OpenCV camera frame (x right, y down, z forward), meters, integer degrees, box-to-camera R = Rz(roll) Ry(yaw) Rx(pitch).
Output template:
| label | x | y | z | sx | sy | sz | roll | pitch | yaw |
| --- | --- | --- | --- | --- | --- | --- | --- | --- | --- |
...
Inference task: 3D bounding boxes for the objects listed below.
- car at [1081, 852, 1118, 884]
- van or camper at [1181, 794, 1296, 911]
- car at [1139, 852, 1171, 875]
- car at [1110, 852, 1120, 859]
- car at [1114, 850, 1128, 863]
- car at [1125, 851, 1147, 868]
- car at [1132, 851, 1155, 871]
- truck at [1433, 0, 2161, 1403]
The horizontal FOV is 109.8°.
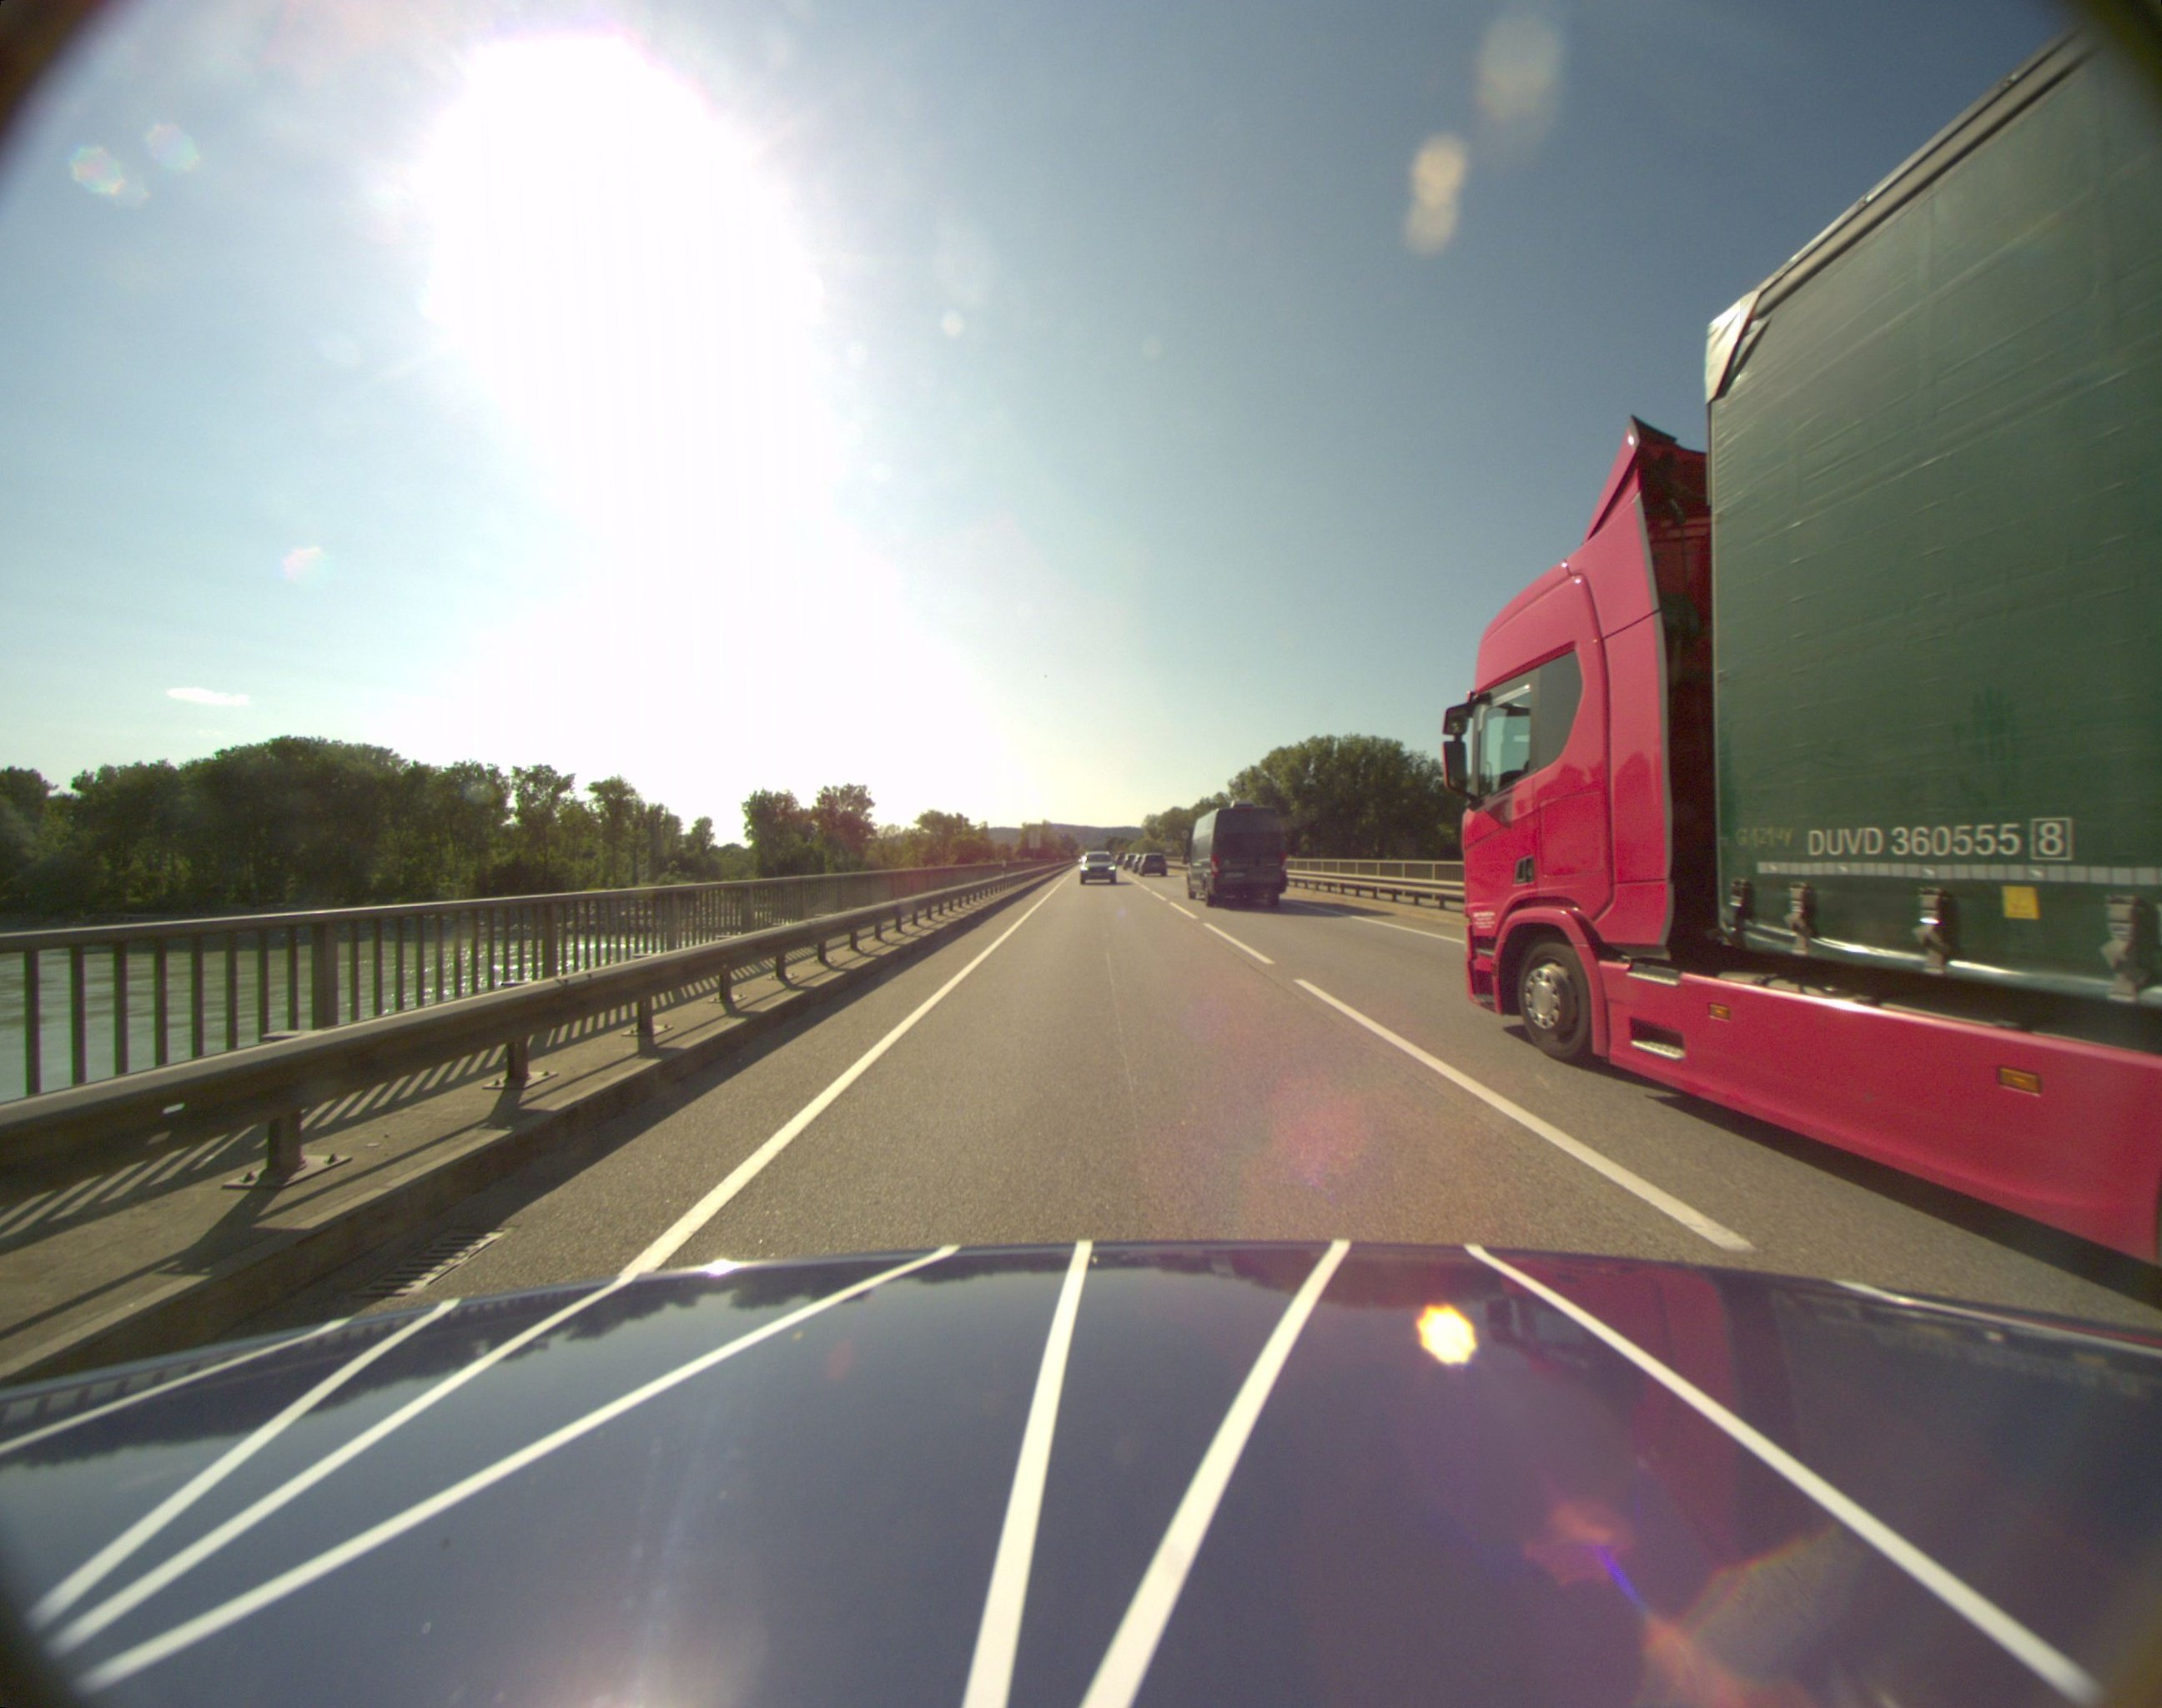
| label | x | y | z | sx | sy | sz | roll | pitch | yaw |
| --- | --- | --- | --- | --- | --- | --- | --- | --- | --- |
| car | 1.025 | 0.712 | 41.856 | 1.871 | 1.598 | 4.380 | -1 | 0 | 2 |
| van or camper | 4.617 | -0.054 | 23.553 | 2.321 | 3.033 | 6.817 | -1 | 0 | 2 |
| car | 5.207 | 0.634 | 54.116 | 1.879 | 1.574 | 4.274 | -1 | 0 | 1 |
| car | 6.617 | 0.289 | 149.520 | 1.770 | 1.439 | 4.456 | -2 | 0 | 0 |
| car | 5.584 | 0.283 | 106.110 | 1.859 | 1.712 | 4.566 | -2 | 0 | 1 |
| car | 5.712 | 0.519 | 79.613 | 2.058 | 1.643 | 4.721 | -3 | 0 | 2 |
| car | 5.248 | 0.575 | 64.340 | 1.810 | 1.568 | 4.201 | -1 | 0 | 3 |
| truck | 4.509 | -0.552 | 3.694 | 2.915 | 4.160 | 5.713 | -1 | 0 | 1 |
